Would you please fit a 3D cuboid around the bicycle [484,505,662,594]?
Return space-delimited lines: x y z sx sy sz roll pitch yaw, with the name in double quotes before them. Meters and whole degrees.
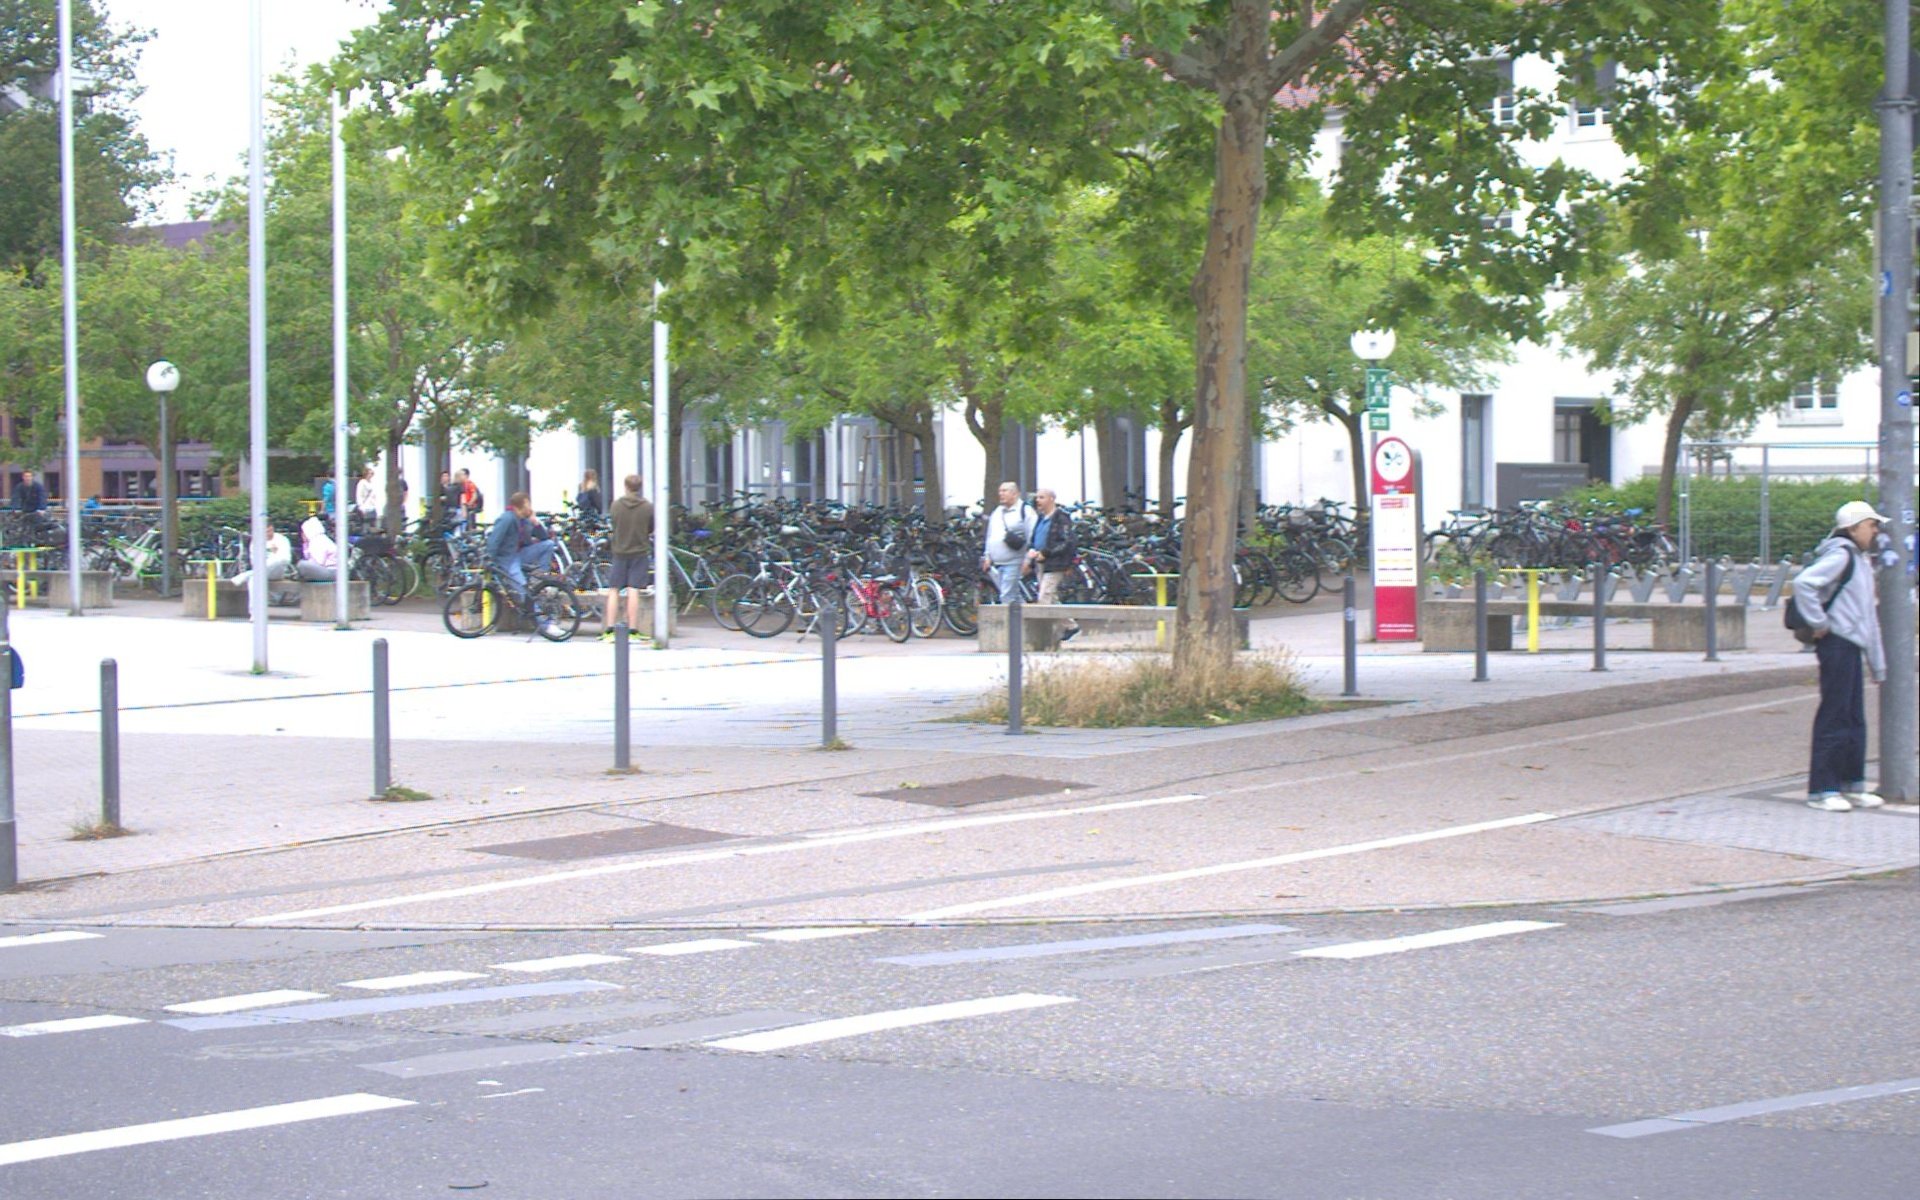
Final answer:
"bicycle" -5.760 -0.759 50.958 3.106 1.166 0.746 5 3 43

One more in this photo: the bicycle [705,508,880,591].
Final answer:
"bicycle" -2.686 -0.810 54.643 3.106 1.166 0.746 5 3 42

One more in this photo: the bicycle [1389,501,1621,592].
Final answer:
"bicycle" 8.005 -0.806 50.677 1.053 1.166 3.393 0 4 -43

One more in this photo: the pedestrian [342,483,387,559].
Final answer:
"pedestrian" -13.001 -1.730 75.058 0.665 1.635 0.661 1 2 38

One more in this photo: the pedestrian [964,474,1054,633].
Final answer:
"pedestrian" 0.533 -0.515 37.612 0.671 1.709 0.678 -3 3 -43

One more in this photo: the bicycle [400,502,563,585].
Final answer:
"bicycle" -7.637 -0.907 54.749 3.106 1.166 0.746 5 3 43

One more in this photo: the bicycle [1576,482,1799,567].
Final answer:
"bicycle" 11.376 -1.196 53.879 1.052 1.166 3.393 1 3 -42

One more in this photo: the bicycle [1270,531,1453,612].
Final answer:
"bicycle" 6.589 -0.485 56.595 3.106 1.166 0.746 5 3 43

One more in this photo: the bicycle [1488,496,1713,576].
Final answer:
"bicycle" 9.720 -0.963 52.327 1.053 1.166 3.392 -2 1 -43

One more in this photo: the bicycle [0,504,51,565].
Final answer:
"bicycle" -17.140 -1.211 63.032 0.873 1.089 1.802 0 2 -14

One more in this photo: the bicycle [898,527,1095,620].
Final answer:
"bicycle" 0.502 -0.393 49.498 3.106 1.166 0.746 5 3 43

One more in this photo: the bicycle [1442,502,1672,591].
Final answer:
"bicycle" 8.928 -0.811 51.560 1.053 1.166 3.393 0 4 -43

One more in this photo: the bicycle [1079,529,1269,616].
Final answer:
"bicycle" 3.263 -0.438 52.779 3.106 1.166 0.746 5 3 43

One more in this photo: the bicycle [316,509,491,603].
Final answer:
"bicycle" -7.895 -0.636 48.632 3.106 1.166 0.620 5 3 43

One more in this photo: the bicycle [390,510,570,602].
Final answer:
"bicycle" -6.966 -0.652 49.758 3.106 1.166 0.746 5 3 43

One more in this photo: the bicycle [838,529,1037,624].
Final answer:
"bicycle" -0.343 -0.346 48.691 3.106 1.166 0.746 5 3 43

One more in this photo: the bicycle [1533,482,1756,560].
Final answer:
"bicycle" 10.545 -1.238 53.092 1.053 1.166 3.392 -2 3 -43

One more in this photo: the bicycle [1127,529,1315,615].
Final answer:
"bicycle" 4.052 -0.449 53.675 3.106 1.166 0.746 5 3 43

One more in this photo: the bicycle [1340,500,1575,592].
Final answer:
"bicycle" 7.148 -0.792 49.641 1.053 1.166 3.393 0 4 -43

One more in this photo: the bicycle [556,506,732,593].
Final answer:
"bicycle" -4.820 -0.780 52.195 3.106 1.166 0.746 5 3 43

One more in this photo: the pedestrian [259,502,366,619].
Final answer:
"pedestrian" -8.003 -0.498 42.508 0.967 1.415 0.851 0 2 30

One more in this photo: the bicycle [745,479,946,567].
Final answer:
"bicycle" -1.581 -1.060 46.883 3.105 1.166 0.746 2 2 43

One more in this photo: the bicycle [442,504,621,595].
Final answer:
"bicycle" -6.304 -0.755 50.397 3.106 1.166 0.746 5 3 43

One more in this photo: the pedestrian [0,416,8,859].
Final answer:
"pedestrian" -4.708 0.166 15.253 0.791 1.945 0.758 -1 2 -25

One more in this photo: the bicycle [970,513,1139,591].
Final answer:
"bicycle" 1.593 -0.834 58.750 3.106 1.166 0.746 5 3 42

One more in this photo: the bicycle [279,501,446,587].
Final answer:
"bicycle" -9.152 -0.864 52.527 3.106 1.166 0.746 5 3 43

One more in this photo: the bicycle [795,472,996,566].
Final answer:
"bicycle" -0.917 -1.133 47.668 3.106 1.166 0.746 5 3 43

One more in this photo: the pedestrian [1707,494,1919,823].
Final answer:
"pedestrian" 4.525 0.284 18.024 0.755 1.621 0.793 -1 6 -36

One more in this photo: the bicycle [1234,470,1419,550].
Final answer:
"bicycle" 5.929 -1.466 55.780 3.106 1.166 0.746 5 3 43

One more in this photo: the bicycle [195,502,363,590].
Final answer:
"bicycle" -10.197 -0.817 51.353 3.106 1.166 0.746 5 3 43

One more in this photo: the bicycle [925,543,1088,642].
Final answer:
"bicycle" 0.518 -0.093 38.758 1.933 1.045 0.456 2 3 37

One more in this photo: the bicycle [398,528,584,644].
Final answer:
"bicycle" -5.313 -0.170 38.847 2.411 1.166 0.456 4 3 36

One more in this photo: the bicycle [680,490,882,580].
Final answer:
"bicycle" -2.416 -0.890 46.039 3.105 1.166 0.746 2 2 43

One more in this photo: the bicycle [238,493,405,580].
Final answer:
"bicycle" -9.659 -0.967 51.927 3.106 1.166 0.746 5 3 43

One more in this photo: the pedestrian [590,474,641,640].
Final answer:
"pedestrian" -3.836 -0.487 38.256 0.509 1.827 0.673 -1 2 -9

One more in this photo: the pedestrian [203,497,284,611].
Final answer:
"pedestrian" -8.941 -0.581 42.913 0.767 1.408 0.673 0 1 10

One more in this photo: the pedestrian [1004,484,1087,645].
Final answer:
"pedestrian" 0.916 -0.388 36.965 0.584 1.709 0.657 -2 2 -43

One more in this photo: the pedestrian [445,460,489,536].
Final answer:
"pedestrian" -10.785 -2.234 75.230 0.665 1.635 0.661 1 2 39

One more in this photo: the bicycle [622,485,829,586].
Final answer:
"bicycle" -3.096 -0.861 45.090 3.106 1.166 0.746 5 3 43

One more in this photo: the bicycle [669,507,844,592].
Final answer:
"bicycle" -3.218 -0.805 54.074 3.106 1.166 0.746 5 3 42

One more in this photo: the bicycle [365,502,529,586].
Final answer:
"bicycle" -8.089 -0.893 54.067 3.106 1.166 0.746 5 3 43

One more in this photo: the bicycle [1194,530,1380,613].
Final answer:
"bicycle" 5.224 -0.468 55.084 3.106 1.166 0.746 5 3 43

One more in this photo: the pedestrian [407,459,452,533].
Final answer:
"pedestrian" -11.717 -2.301 75.905 0.693 1.635 0.661 1 2 39

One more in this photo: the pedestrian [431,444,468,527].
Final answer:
"pedestrian" -10.214 -2.288 68.822 0.660 1.635 0.666 -1 2 -5

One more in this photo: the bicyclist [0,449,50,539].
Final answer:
"bicyclist" -17.139 -1.947 62.999 0.873 1.635 0.868 0 2 -14

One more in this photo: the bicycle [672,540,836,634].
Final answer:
"bicycle" -2.405 -0.159 40.049 1.932 1.045 0.456 1 3 27

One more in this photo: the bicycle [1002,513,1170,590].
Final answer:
"bicycle" 2.162 -0.843 59.407 3.106 1.166 0.746 5 3 42

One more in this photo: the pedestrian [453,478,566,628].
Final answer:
"pedestrian" -5.209 -0.550 39.763 0.968 1.698 0.850 1 2 40

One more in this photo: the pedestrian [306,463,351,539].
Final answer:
"pedestrian" -13.694 -2.150 74.509 0.665 1.635 0.661 1 2 39

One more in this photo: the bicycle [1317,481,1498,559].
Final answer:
"bicycle" 7.471 -1.344 57.588 3.106 1.166 0.746 5 3 43
